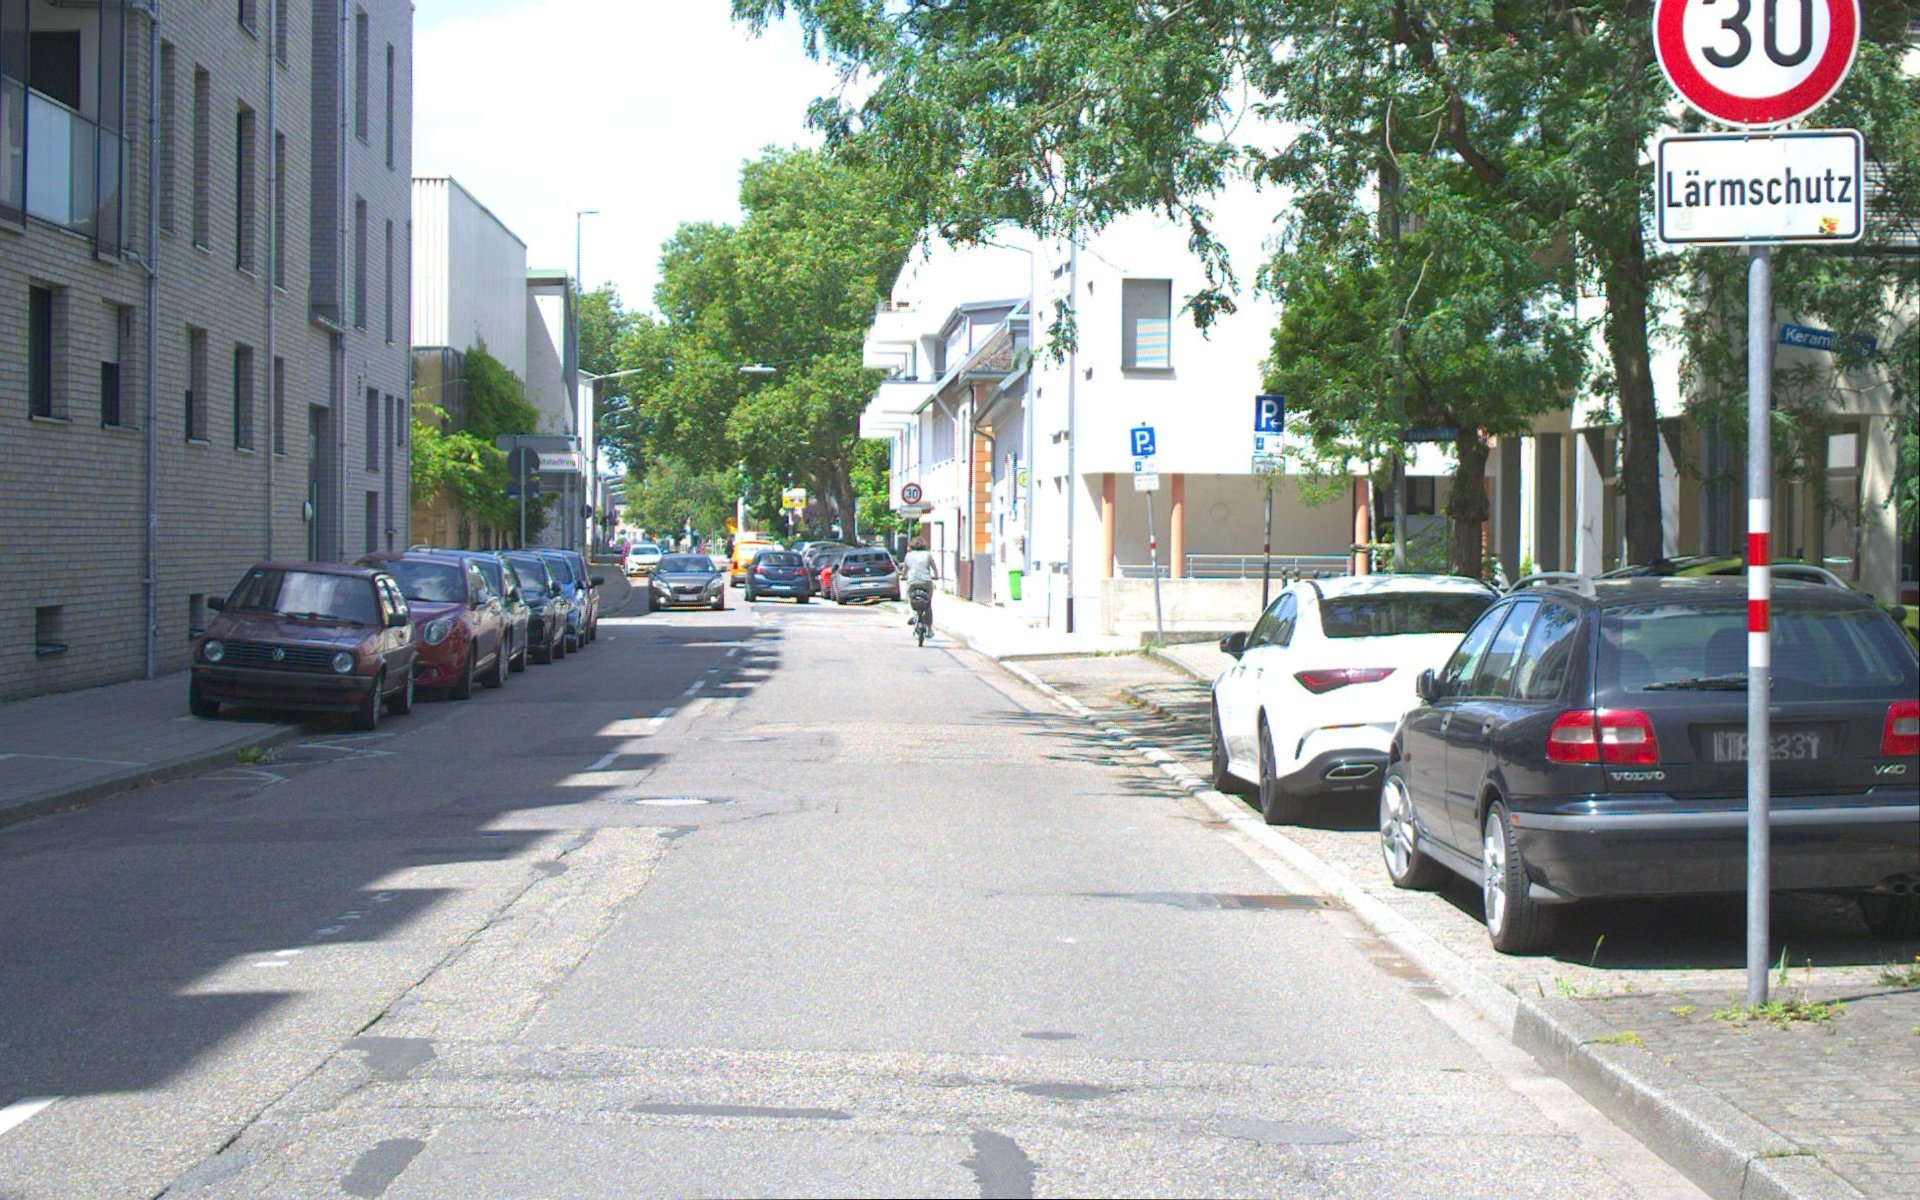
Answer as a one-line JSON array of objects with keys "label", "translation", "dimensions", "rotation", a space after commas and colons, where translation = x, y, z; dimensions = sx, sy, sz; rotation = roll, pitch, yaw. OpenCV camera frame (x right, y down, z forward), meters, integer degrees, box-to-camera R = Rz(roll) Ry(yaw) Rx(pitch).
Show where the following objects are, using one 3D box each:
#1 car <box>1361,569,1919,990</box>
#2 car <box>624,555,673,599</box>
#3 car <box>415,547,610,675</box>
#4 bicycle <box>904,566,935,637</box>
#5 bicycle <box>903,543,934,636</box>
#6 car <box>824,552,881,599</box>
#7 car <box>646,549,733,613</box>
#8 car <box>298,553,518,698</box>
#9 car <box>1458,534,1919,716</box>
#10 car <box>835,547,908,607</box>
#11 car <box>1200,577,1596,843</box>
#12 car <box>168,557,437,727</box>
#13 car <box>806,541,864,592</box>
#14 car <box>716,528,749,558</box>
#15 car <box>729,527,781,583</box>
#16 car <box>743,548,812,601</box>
[{"label": "car", "translation": [2.797, 0.617, 14.172], "dimensions": [1.692, 1.415, 4.000], "rotation": [-2, 1, -1]}, {"label": "car", "translation": [-14.533, -1.080, 160.302], "dimensions": [1.993, 2.007, 4.000], "rotation": [1, 1, -1]}, {"label": "car", "translation": [-5.482, 0.098, 42.557], "dimensions": [1.826, 1.415, 4.000], "rotation": [3, 1, 0]}, {"label": "bicycle", "translation": [-0.653, 0.019, 55.231], "dimensions": [0.483, 1.111, 1.196], "rotation": [1, 1, -1]}, {"label": "bicycle", "translation": [-0.662, -0.169, 55.240], "dimensions": [0.477, 1.485, 0.576], "rotation": [1, 1, -1]}, {"label": "car", "translation": [-3.377, -0.772, 108.147], "dimensions": [1.753, 1.447, 3.679], "rotation": [1, 1, -1]}, {"label": "car", "translation": [-6.603, -0.490, 84.292], "dimensions": [1.993, 1.514, 4.001], "rotation": [0, 1, -3]}, {"label": "car", "translation": [-5.781, 0.233, 36.430], "dimensions": [1.732, 1.437, 4.000], "rotation": [1, 1, -1]}, {"label": "car", "translation": [6.773, 0.226, 29.764], "dimensions": [4.376, 1.376, 2.001], "rotation": [2, 1, -16]}, {"label": "car", "translation": [-2.502, -0.658, 96.759], "dimensions": [1.993, 1.612, 4.000], "rotation": [1, 1, -2]}, {"label": "car", "translation": [2.533, 0.587, 20.761], "dimensions": [1.779, 1.415, 4.000], "rotation": [1, 1, -1]}, {"label": "car", "translation": [-5.931, 0.337, 31.420], "dimensions": [1.732, 1.437, 4.000], "rotation": [1, 1, -1]}, {"label": "car", "translation": [-4.092, -1.100, 113.128], "dimensions": [1.825, 1.637, 3.535], "rotation": [1, 1, -1]}, {"label": "car", "translation": [-15.559, -3.902, 235.115], "dimensions": [2.156, 2.007, 4.001], "rotation": [0, 1, -3]}, {"label": "car", "translation": [-7.571, -1.690, 127.294], "dimensions": [1.839, 2.007, 4.001], "rotation": [1, 1, -3]}, {"label": "car", "translation": [-5.102, -0.732, 96.500], "dimensions": [1.715, 1.397, 4.000], "rotation": [0, 1, 0]}]
